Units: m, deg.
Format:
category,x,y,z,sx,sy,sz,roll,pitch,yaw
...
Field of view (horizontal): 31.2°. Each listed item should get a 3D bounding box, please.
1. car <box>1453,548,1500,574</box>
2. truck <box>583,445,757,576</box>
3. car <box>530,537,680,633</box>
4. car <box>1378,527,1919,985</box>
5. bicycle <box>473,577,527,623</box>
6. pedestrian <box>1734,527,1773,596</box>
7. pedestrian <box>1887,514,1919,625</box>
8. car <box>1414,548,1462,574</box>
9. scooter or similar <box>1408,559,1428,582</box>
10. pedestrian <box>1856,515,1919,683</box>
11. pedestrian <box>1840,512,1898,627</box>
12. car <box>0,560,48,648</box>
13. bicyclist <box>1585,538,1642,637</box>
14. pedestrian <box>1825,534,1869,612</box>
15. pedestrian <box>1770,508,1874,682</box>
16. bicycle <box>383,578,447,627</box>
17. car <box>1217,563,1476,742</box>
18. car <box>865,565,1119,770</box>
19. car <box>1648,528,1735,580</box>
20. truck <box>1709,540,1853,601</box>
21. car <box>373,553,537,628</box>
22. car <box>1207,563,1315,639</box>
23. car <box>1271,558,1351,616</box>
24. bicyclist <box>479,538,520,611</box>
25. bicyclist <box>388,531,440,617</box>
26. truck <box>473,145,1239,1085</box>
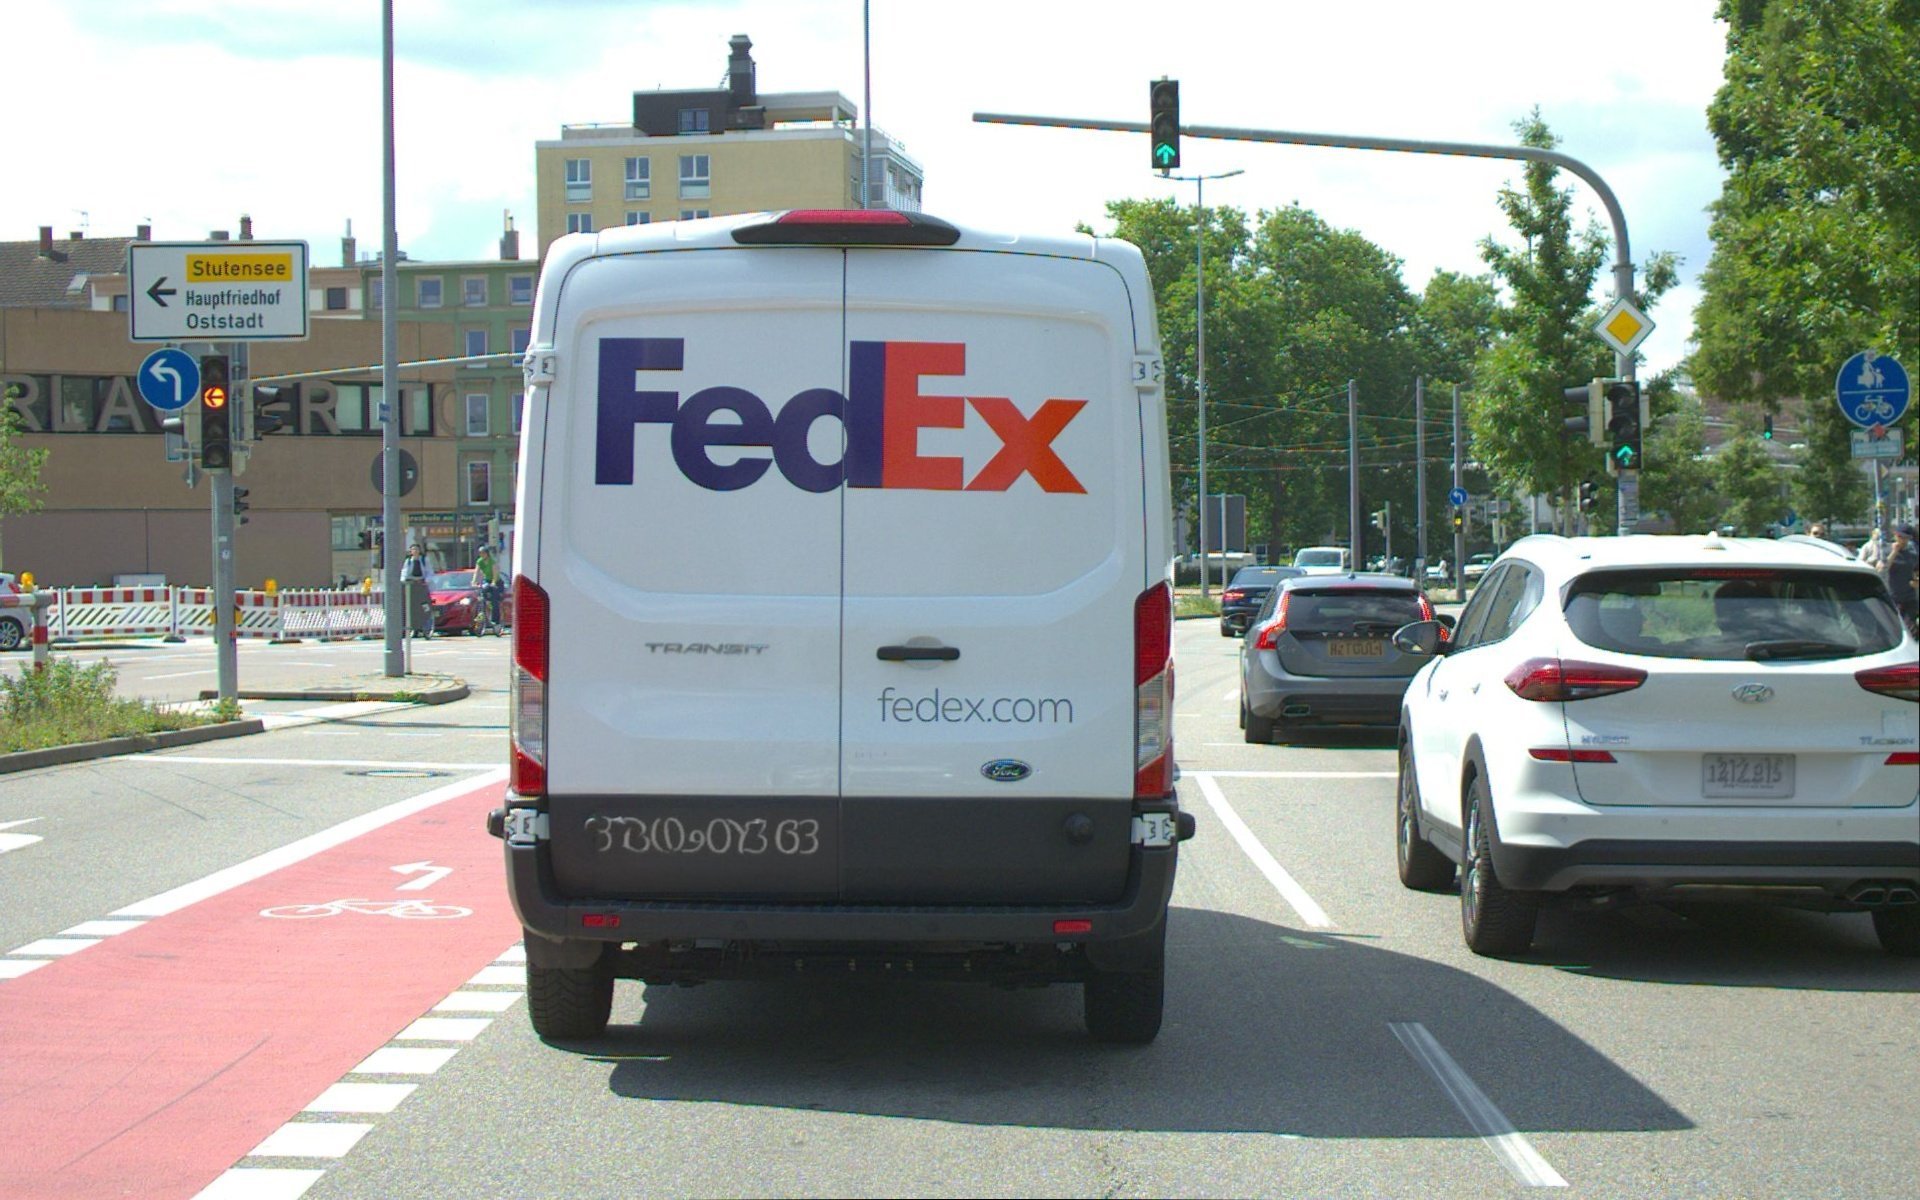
category,x,y,z,sx,sy,sz,roll,pitch,yaw
car,31.912,-2.389,212.341,1.996,1.568,4.173,1,0,21
truck,-7.138,-2.172,85.556,1.995,3.057,7.325,1,0,14
car,-6.172,-0.292,60.163,1.881,1.618,4.155,0,1,5
car,2.914,0.525,14.505,1.881,1.636,4.232,-1,1,2
bicycle,-9.262,0.004,69.281,0.567,0.886,1.742,-1,1,10
pedestrian,18.426,-0.892,79.834,0.756,1.584,0.761,1,0,2
pedestrian,15.347,-0.497,55.182,0.750,1.746,0.609,-2,1,7
car,29.703,-2.413,213.560,1.996,1.568,4.173,1,0,21
scooter or similar,21.768,-1.395,163.516,0.379,1.112,1.092,0,0,43
pedestrian,9.923,-0.017,36.277,0.666,1.740,0.609,-2,1,-6
pedestrian,14.538,-0.494,54.981,0.750,1.796,0.609,-2,1,7
car,-17.889,0.053,58.668,4.005,1.503,1.999,1,0,-40
bicyclist,10.973,-0.207,57.737,0.828,1.596,0.579,-3,-1,7
pedestrian,21.183,-0.641,82.130,0.756,1.815,0.780,-4,0,2
pedestrian,9.041,-0.061,36.088,0.749,1.771,0.882,-2,1,-6
bicycle,-10.337,0.037,65.226,0.776,0.886,2.108,-1,1,3
car,3.319,0.411,30.178,1.915,1.415,3.918,-1,1,2
car,0.318,0.451,26.168,1.741,1.387,4.179,-1,1,3
car,23.510,-1.483,110.363,1.883,1.636,3.952,0,1,25
truck,40.104,-1.468,167.646,2.892,2.842,8.770,0,1,43
car,-10.666,-0.215,72.839,1.995,1.481,3.903,-1,1,16
car,6.273,-0.007,71.292,1.882,1.501,4.154,0,1,10
car,12.416,-0.461,121.392,1.995,2.007,4.119,1,0,17
bicyclist,-9.272,-0.510,69.258,0.565,1.456,0.836,-1,1,10
bicyclist,-10.350,-0.502,65.187,0.776,1.613,0.843,-1,1,3
truck,-0.318,0.017,12.625,2.137,2.631,5.917,0,0,0
